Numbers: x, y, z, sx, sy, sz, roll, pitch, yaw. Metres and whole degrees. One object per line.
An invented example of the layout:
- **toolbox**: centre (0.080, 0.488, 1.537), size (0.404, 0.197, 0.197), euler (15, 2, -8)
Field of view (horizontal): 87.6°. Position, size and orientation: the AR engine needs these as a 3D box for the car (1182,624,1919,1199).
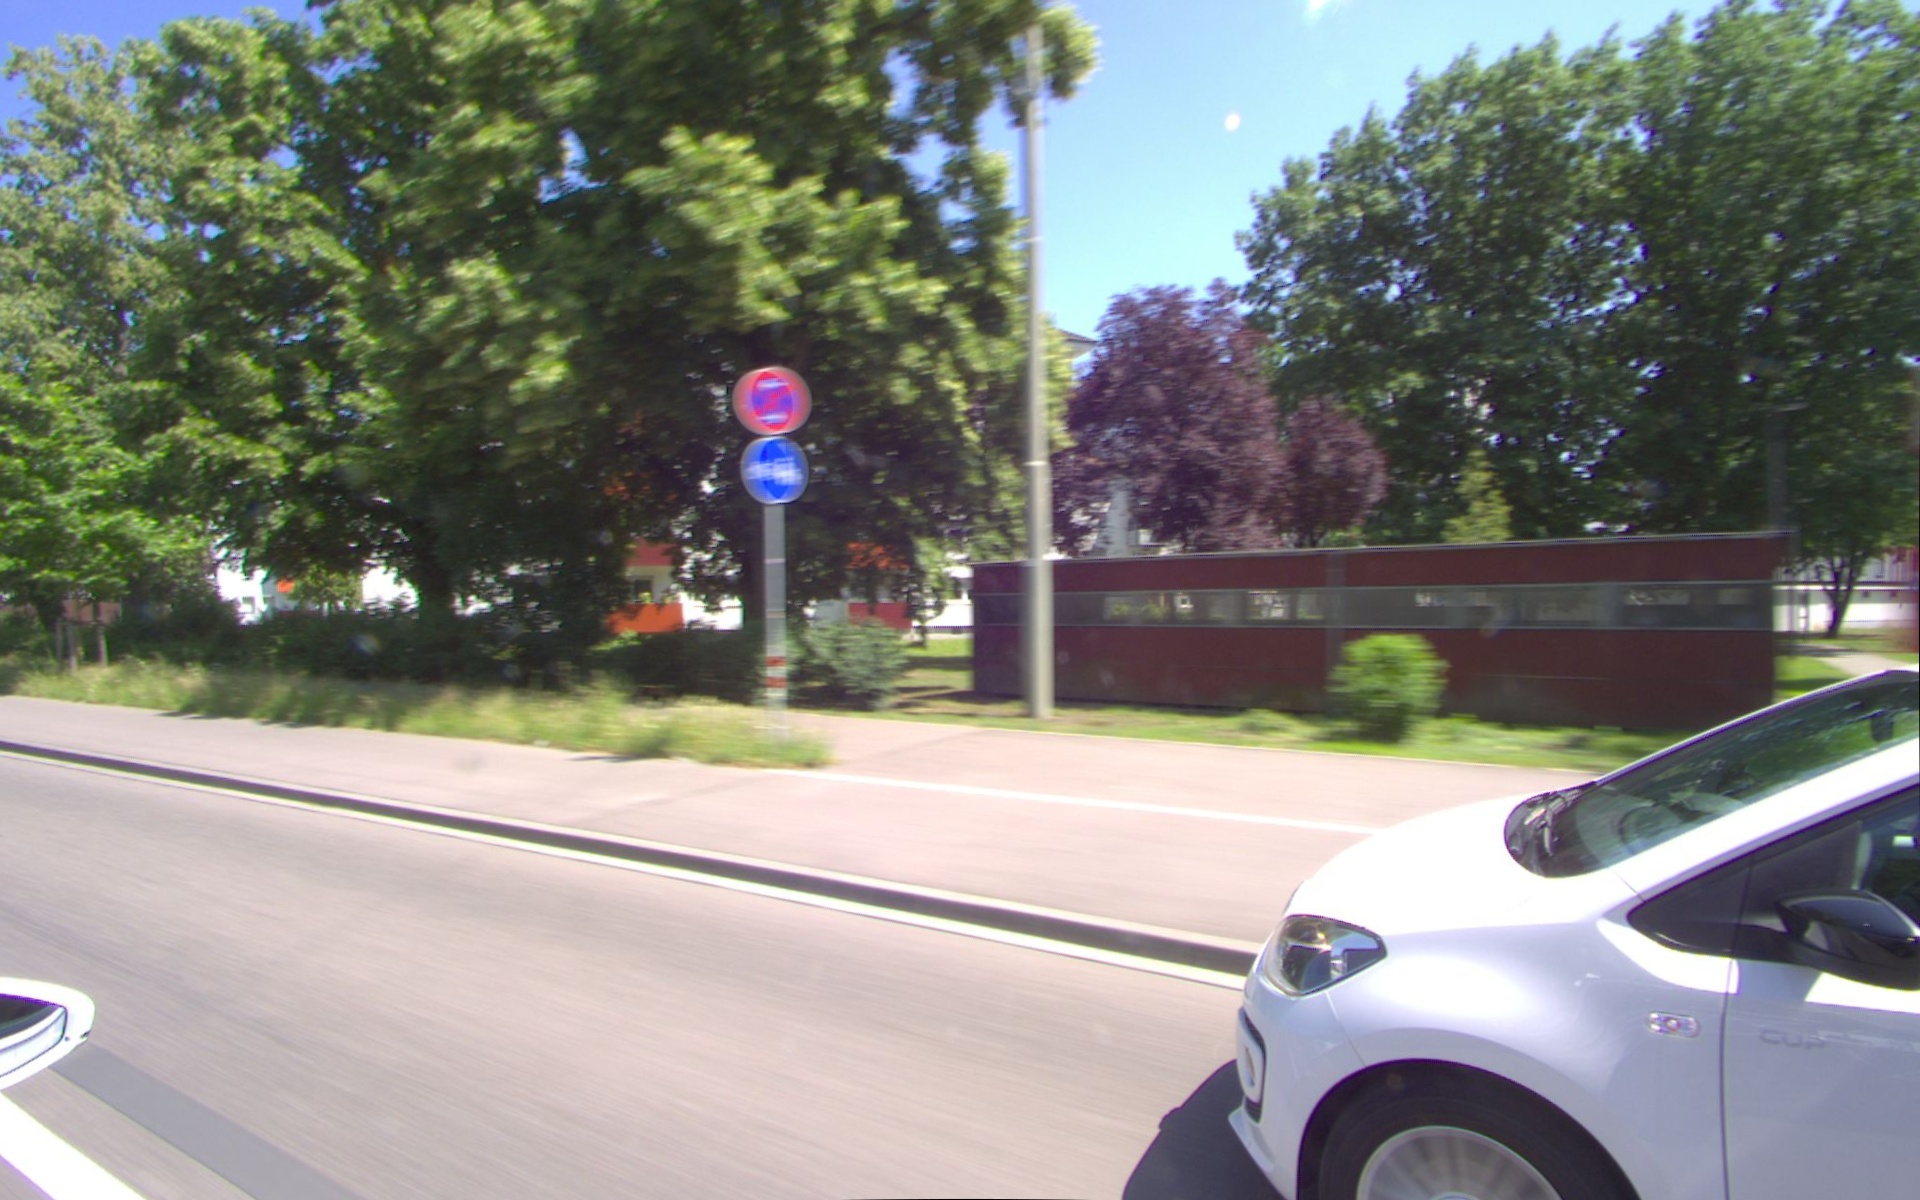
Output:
- **car**: centre (2.532, 0.786, 1.932), size (3.799, 1.468, 1.656), euler (-1, -2, 32)
